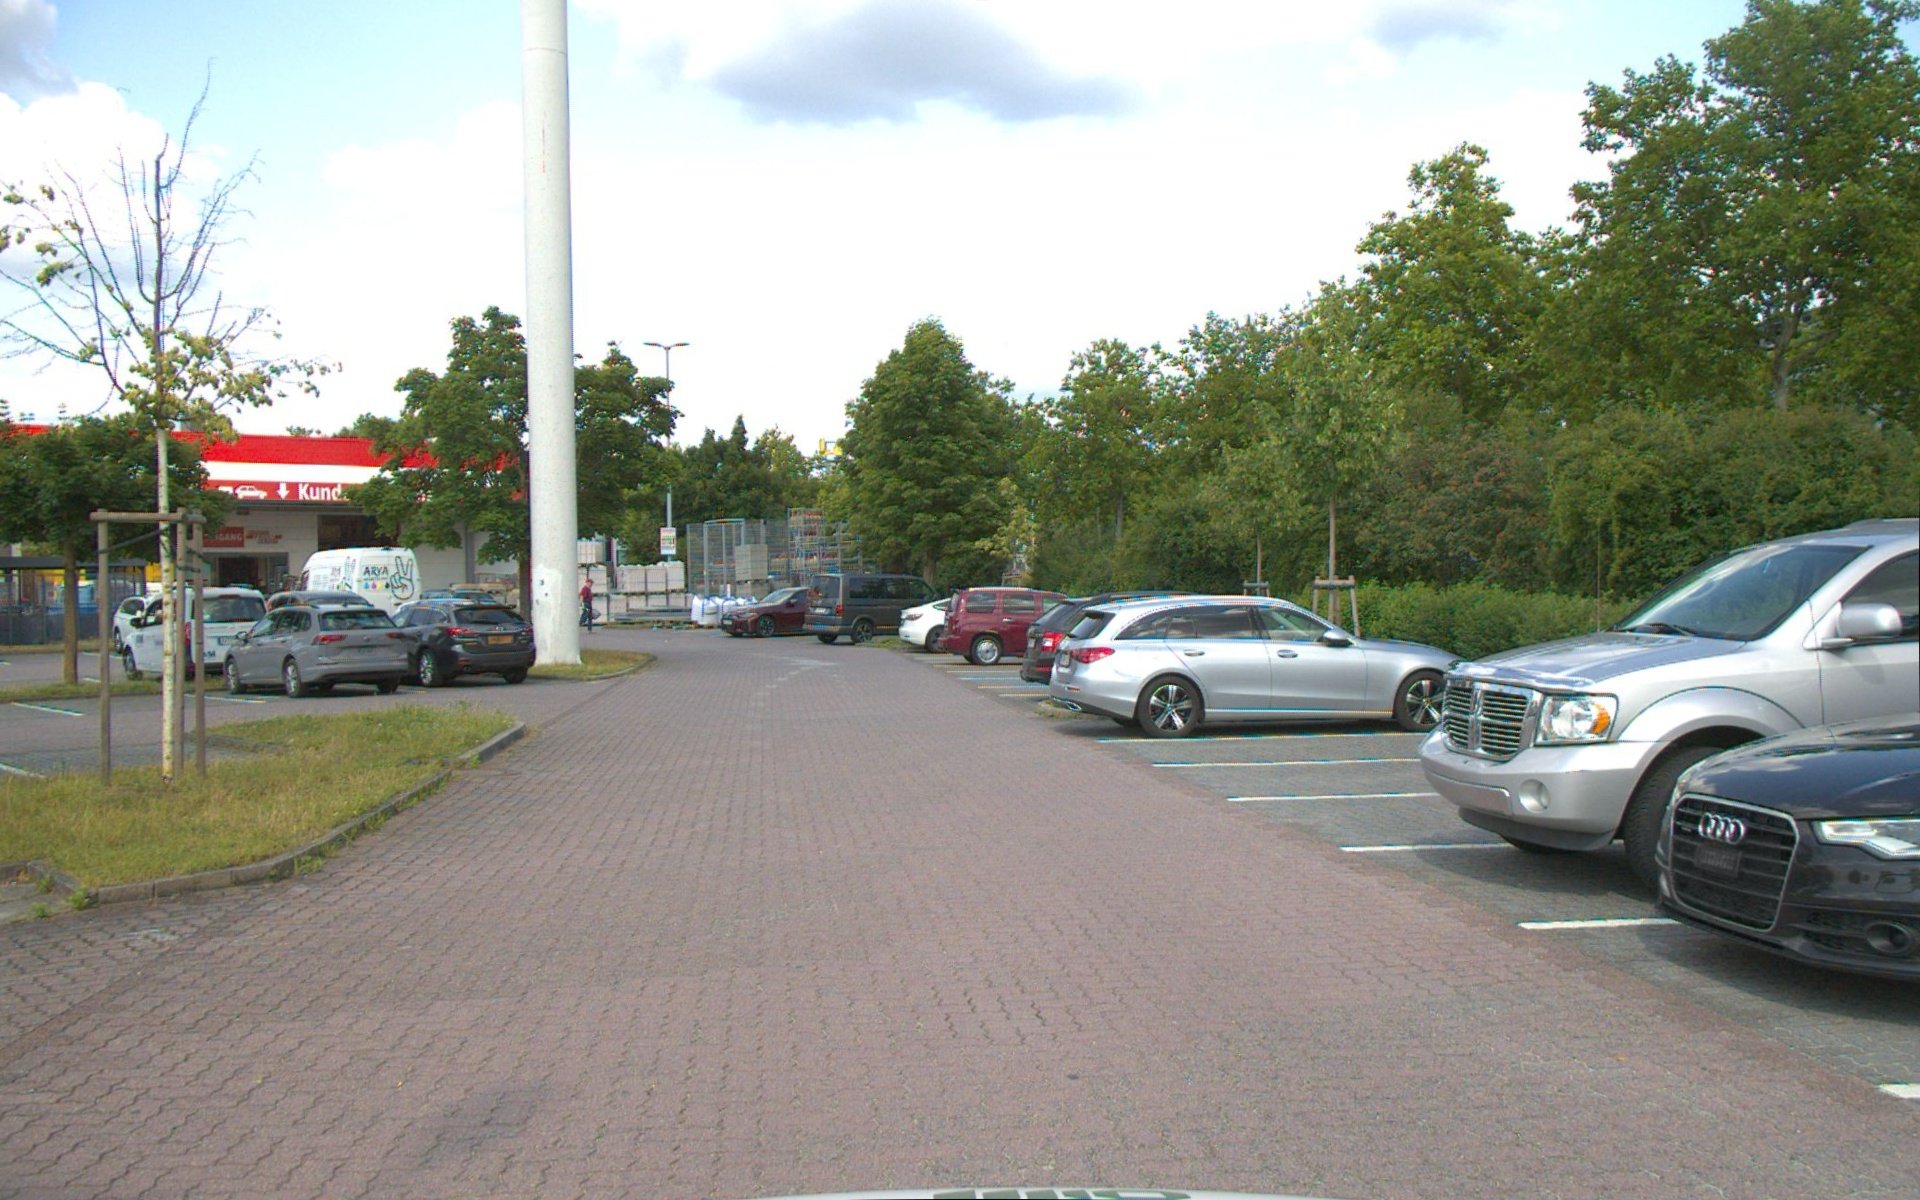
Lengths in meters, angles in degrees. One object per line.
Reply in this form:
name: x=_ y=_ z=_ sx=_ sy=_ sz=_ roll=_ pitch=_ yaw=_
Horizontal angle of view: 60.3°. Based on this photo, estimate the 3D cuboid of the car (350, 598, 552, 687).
car: x=-9.227 y=0.728 z=29.824 sx=4.022 sy=1.464 sz=1.815 roll=-1 pitch=1 yaw=45

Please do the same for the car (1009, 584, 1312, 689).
car: x=2.747 y=0.515 z=23.118 sx=3.912 sy=1.405 sz=1.695 roll=0 pitch=-2 yaw=-9

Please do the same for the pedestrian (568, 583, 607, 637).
pedestrian: x=-11.839 y=0.312 z=52.554 sx=0.900 sy=1.695 sz=0.785 roll=-1 pitch=0 yaw=21

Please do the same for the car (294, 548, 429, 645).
car: x=-16.726 y=-0.114 z=46.107 sx=2.035 sy=2.554 sz=4.658 roll=0 pitch=0 yaw=-41

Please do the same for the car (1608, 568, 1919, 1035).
car: x=5.198 y=0.583 z=6.518 sx=4.621 sy=1.476 sz=1.836 roll=-1 pitch=1 yaw=-8

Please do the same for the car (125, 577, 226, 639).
car: x=-26.892 y=0.285 z=56.631 sx=1.985 sy=2.049 sz=3.935 roll=1 pitch=-1 yaw=-44

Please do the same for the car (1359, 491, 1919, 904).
car: x=4.961 y=0.393 z=9.005 sx=5.035 sy=1.875 sz=1.987 roll=-1 pitch=1 yaw=-9

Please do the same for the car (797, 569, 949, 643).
car: x=-2.466 y=0.188 z=47.489 sx=4.015 sy=2.054 sz=1.921 roll=0 pitch=-1 yaw=-38

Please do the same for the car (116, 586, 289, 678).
car: x=-14.753 y=0.597 z=32.123 sx=1.895 sy=1.624 sz=3.937 roll=-2 pitch=1 yaw=-43

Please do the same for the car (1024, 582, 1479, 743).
car: x=3.105 y=0.625 z=18.038 sx=4.552 sy=1.531 sz=1.782 roll=-1 pitch=1 yaw=-8

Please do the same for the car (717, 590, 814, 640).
car: x=-5.953 y=0.475 z=50.668 sx=2.657 sy=1.457 sz=1.338 roll=2 pitch=-2 yaw=-34

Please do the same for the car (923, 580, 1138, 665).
car: x=1.447 y=0.448 z=34.885 sx=4.227 sy=1.624 sz=1.996 roll=-1 pitch=1 yaw=-9

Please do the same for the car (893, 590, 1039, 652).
car: x=0.127 y=0.532 z=42.272 sx=3.564 sy=1.494 sz=1.631 roll=-1 pitch=-1 yaw=-8

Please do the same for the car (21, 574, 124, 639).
car: x=-29.339 y=0.250 z=54.641 sx=1.985 sy=2.049 sz=3.935 roll=3 pitch=-3 yaw=-44

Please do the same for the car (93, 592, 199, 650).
car: x=-21.149 y=0.563 z=42.920 sx=1.530 sy=1.430 sz=3.569 roll=2 pitch=-2 yaw=-42

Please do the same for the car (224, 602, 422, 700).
car: x=-10.635 y=0.803 z=27.504 sx=3.710 sy=1.472 sz=1.713 roll=-1 pitch=1 yaw=45
